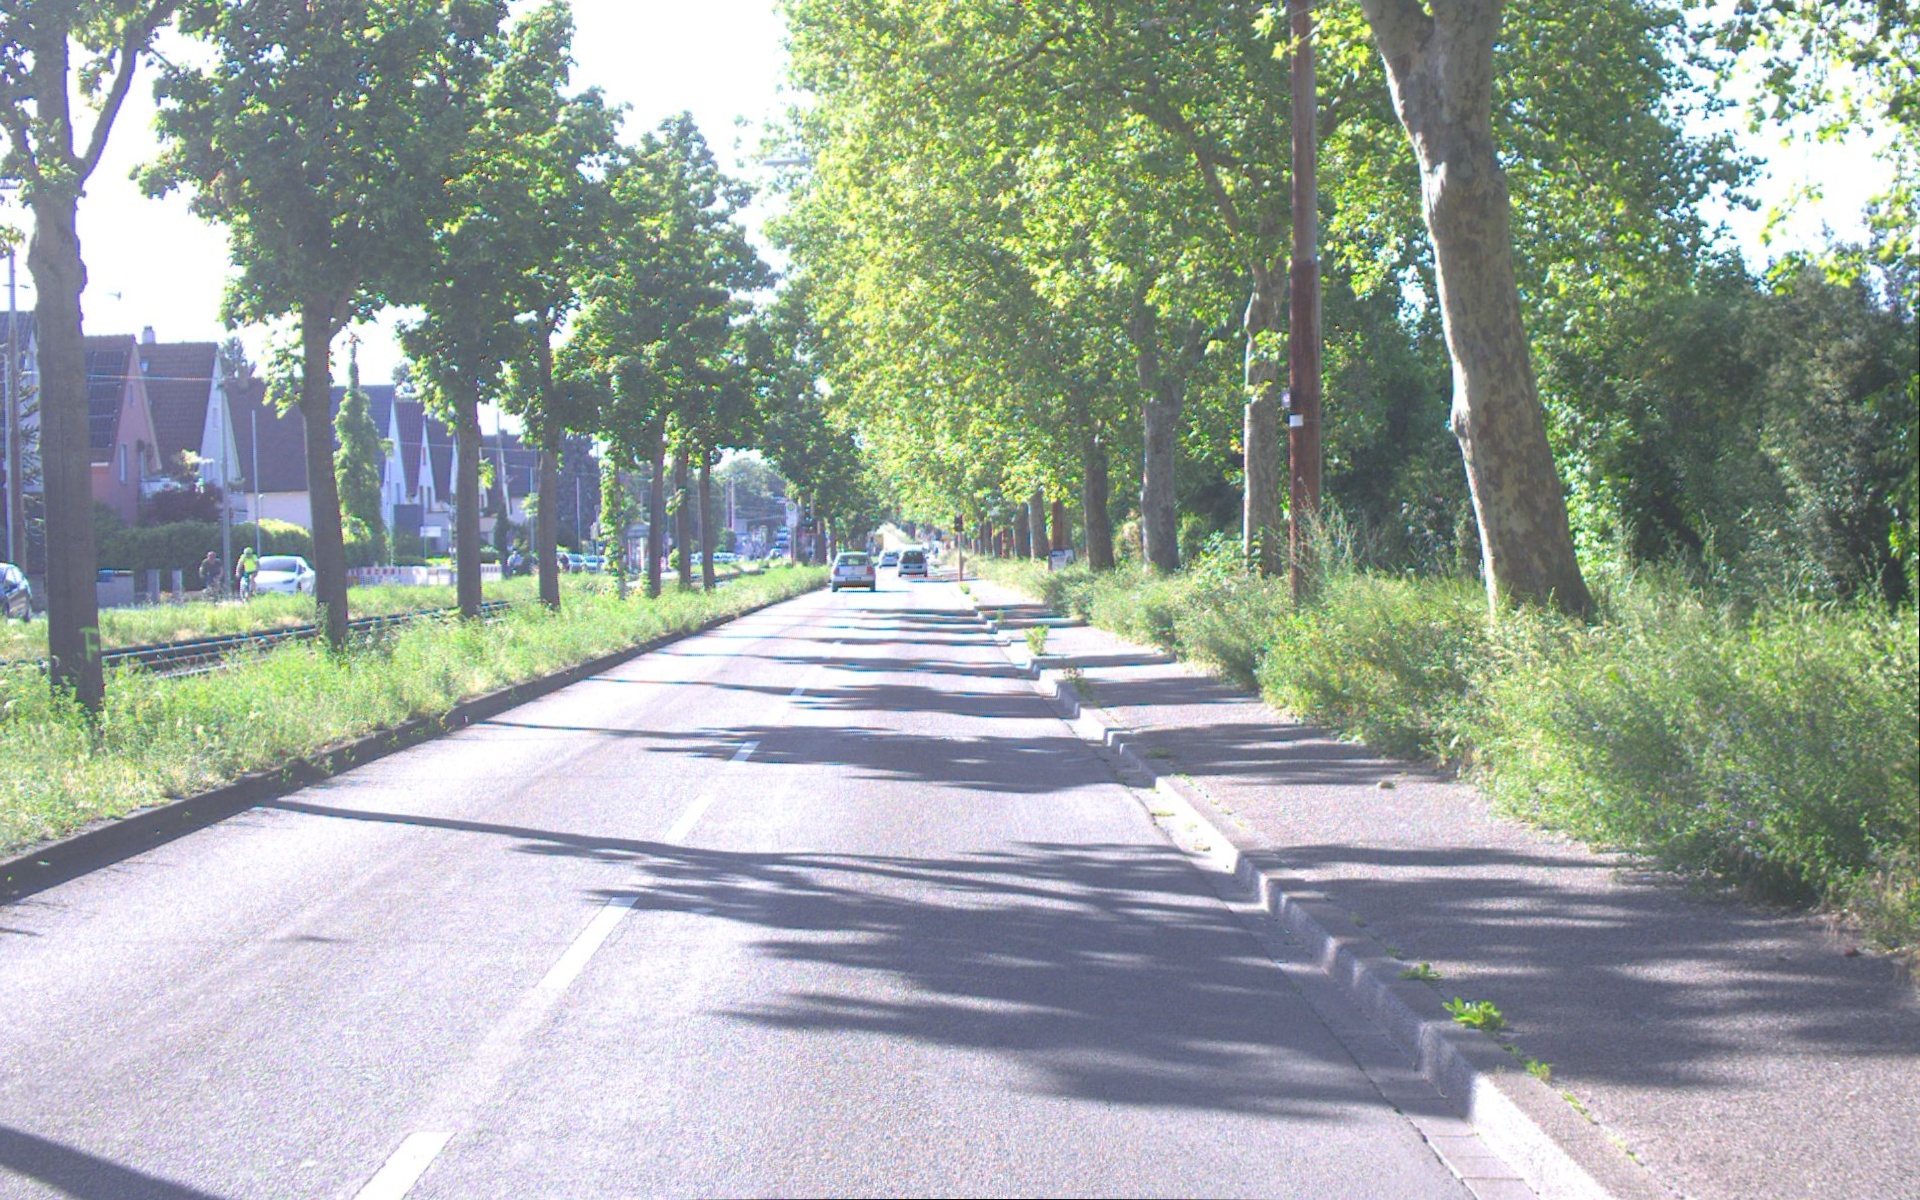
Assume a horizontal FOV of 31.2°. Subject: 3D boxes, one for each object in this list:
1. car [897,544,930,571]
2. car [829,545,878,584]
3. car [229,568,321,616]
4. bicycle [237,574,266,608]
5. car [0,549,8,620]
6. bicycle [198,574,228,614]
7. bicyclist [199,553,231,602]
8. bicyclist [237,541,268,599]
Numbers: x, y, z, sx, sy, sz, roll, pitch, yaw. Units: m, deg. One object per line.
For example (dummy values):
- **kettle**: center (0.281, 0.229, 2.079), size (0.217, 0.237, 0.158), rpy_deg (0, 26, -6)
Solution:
- **car**: center (-2.587, -2.384, 192.697), size (1.761, 1.508, 3.277), rpy_deg (0, 1, 0)
- **car**: center (-3.900, -1.308, 126.200), size (1.738, 1.396, 3.277), rpy_deg (0, 1, -1)
- **car**: center (-23.541, -0.278, 118.335), size (1.994, 1.593, 4.731), rpy_deg (0, 1, 3)
- **bicycle**: center (-20.393, -0.269, 98.990), size (0.398, 0.924, 2.096), rpy_deg (-1, 1, 0)
- **car**: center (-22.189, -0.323, 74.817), size (1.644, 1.563, 4.386), rpy_deg (0, 1, 1)
- **bicycle**: center (-20.595, -0.164, 94.815), size (0.398, 1.066, 1.880), rpy_deg (-1, 1, 0)
- **bicyclist**: center (-20.567, -0.633, 94.921), size (0.688, 1.332, 0.881), rpy_deg (-1, 1, -1)
- **bicyclist**: center (-20.388, -0.860, 99.071), size (0.688, 1.646, 0.881), rpy_deg (-1, 1, -1)
